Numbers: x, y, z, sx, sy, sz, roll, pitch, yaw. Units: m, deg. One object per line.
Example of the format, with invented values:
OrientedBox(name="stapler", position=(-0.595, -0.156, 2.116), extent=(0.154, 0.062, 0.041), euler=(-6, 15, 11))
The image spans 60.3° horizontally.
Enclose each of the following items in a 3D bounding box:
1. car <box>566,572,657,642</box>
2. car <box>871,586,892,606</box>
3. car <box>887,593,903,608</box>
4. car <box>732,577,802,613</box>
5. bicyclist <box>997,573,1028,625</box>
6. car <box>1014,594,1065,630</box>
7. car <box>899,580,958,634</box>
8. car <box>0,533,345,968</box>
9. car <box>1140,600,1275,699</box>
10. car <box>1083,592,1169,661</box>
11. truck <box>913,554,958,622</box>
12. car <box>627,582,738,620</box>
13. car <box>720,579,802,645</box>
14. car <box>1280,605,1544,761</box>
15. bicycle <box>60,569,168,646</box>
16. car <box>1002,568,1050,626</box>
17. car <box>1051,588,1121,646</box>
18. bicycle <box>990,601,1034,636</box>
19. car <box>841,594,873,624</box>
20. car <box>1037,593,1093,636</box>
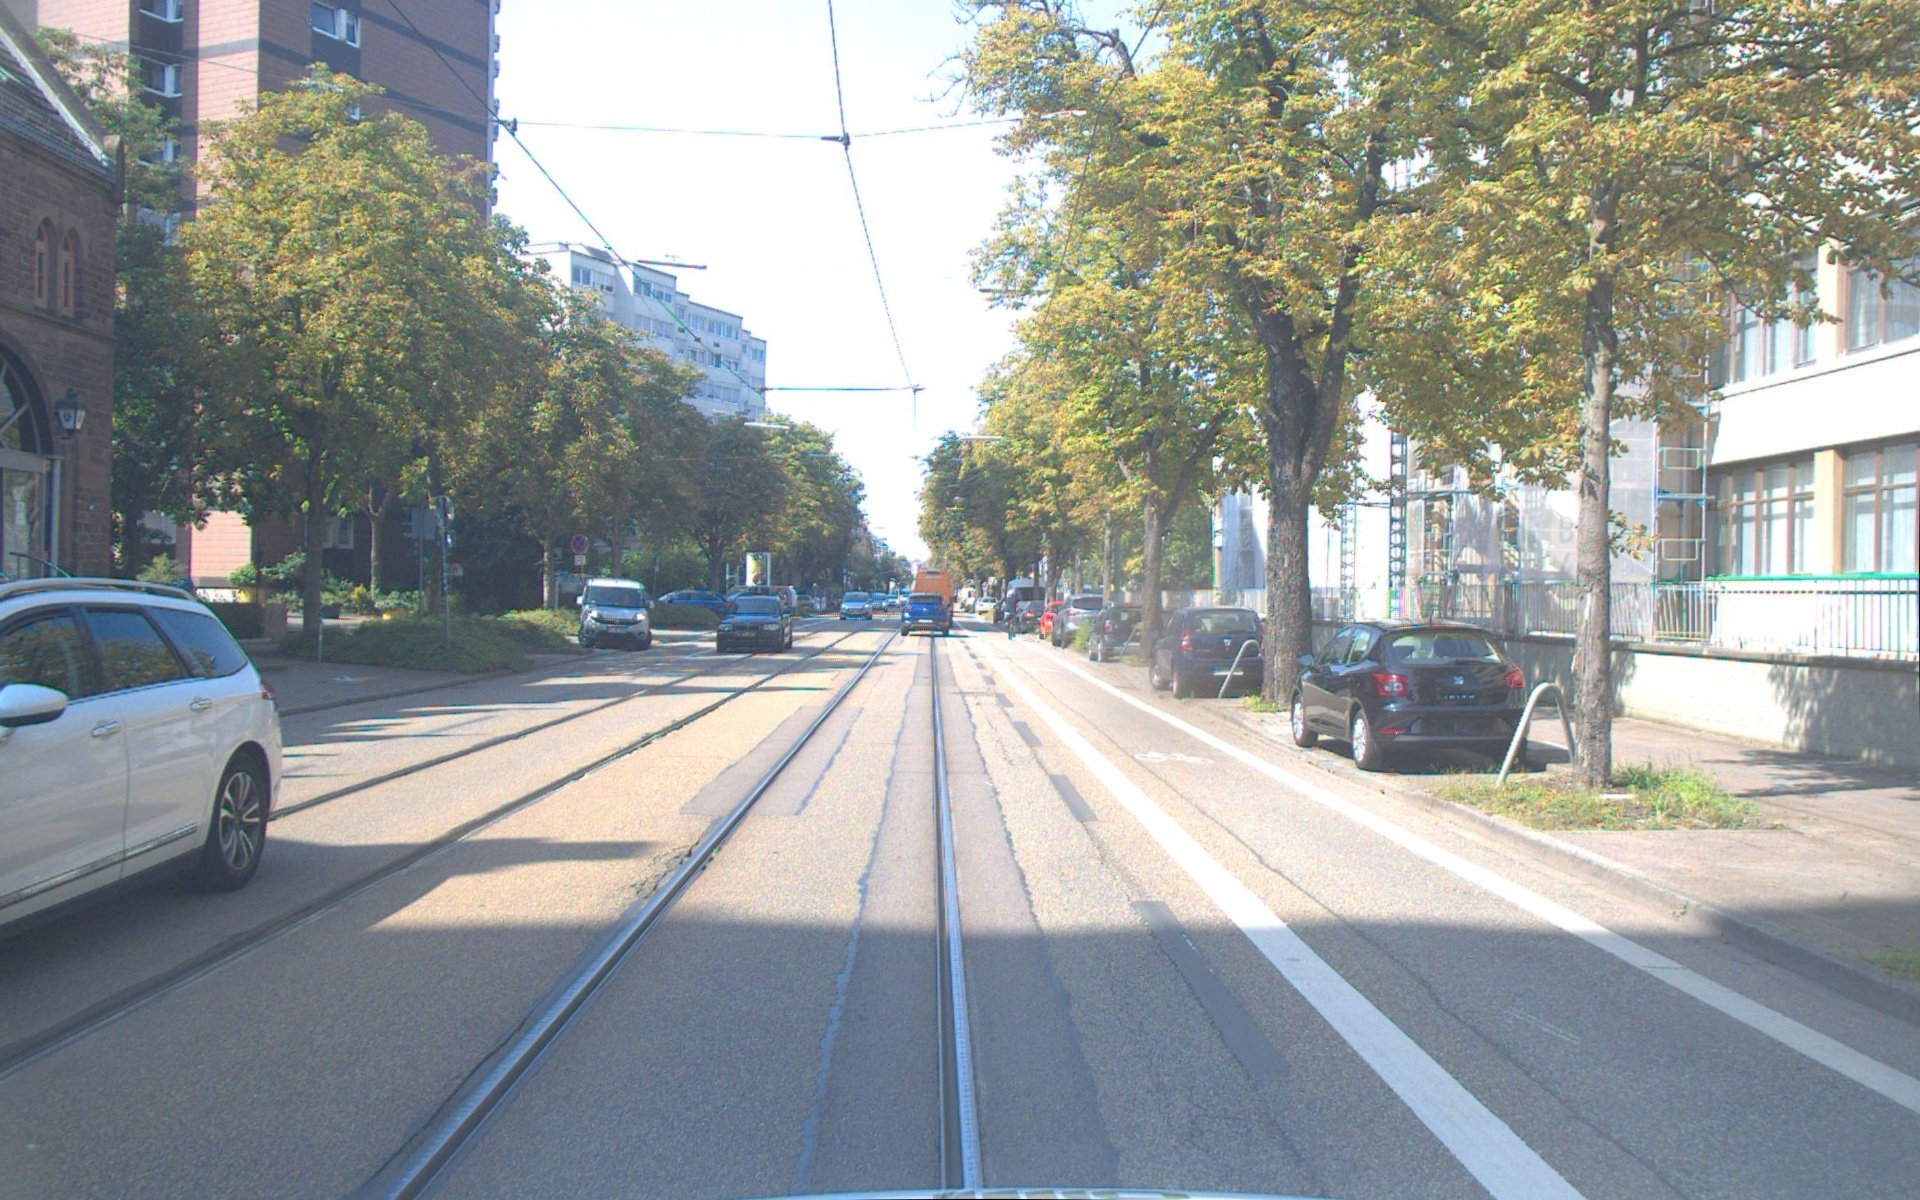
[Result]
OrientedBox(name="car", position=(-9.701, 0.159, 45.844), extent=(1.723, 1.828, 3.972), euler=(2, 0, -23))
OrientedBox(name="car", position=(-6.534, -0.367, 137.638), extent=(1.601, 1.612, 4.187), euler=(2, 0, -2))
OrientedBox(name="car", position=(-7.535, 0.027, 191.871), extent=(1.860, 1.589, 4.121), euler=(2, 0, -2))
OrientedBox(name="car", position=(-11.849, -0.294, 101.794), extent=(3.969, 2.049, 1.827), euler=(1, 0, -44))
OrientedBox(name="bicyclist", position=(1.908, -0.034, 60.225), extent=(1.011, 1.843, 1.016), euler=(2, 0, -1))
OrientedBox(name="car", position=(3.472, 0.517, 72.903), extent=(1.869, 1.456, 4.291), euler=(2, 0, -2))
OrientedBox(name="car", position=(-1.162, 0.227, 61.837), extent=(2.092, 1.891, 5.567), euler=(1, 0, -1))
OrientedBox(name="car", position=(-4.254, 0.516, 6.594), extent=(1.809, 1.518, 4.867), euler=(0, 0, 0))
OrientedBox(name="car", position=(4.287, 0.813, 29.205), extent=(1.707, 1.583, 4.216), euler=(1, 0, -1))
OrientedBox(name="car", position=(4.194, 0.631, 42.301), extent=(1.601, 1.612, 4.187), euler=(2, 0, -2))
OrientedBox(name="truck", position=(-1.201, -0.599, 81.103), extent=(2.092, 3.179, 6.084), euler=(1, 0, -1))
OrientedBox(name="car", position=(-12.418, 0.040, 73.969), extent=(4.511, 1.579, 1.985), euler=(2, 0, -25))
OrientedBox(name="car", position=(-5.190, 0.290, 43.564), extent=(1.647, 1.599, 4.205), euler=(2, 0, 0))
OrientedBox(name="car", position=(4.662, 0.789, 17.662), extent=(1.625, 1.432, 4.216), euler=(1, 0, -1))
OrientedBox(name="bicycle", position=(-13.644, 0.116, 26.683), extent=(1.423, 1.112, 0.399), euler=(5, 0, -5))
OrientedBox(name="car", position=(3.304, -0.177, 83.491), extent=(1.953, 2.803, 5.759), euler=(2, 0, -2))
OrientedBox(name="car", position=(3.945, 0.504, 52.390), extent=(1.705, 1.697, 4.360), euler=(2, 0, -2))
OrientedBox(name="bicycle", position=(1.856, 0.649, 60.237), extent=(1.373, 1.154, 3.999), euler=(1, 0, -1))
OrientedBox(name="car", position=(-6.187, 0.528, 99.720), extent=(1.744, 1.713, 4.345), euler=(2, 0, -2))
OrientedBox(name="car", position=(3.955, 0.530, 62.773), extent=(1.705, 1.488, 3.683), euler=(2, 0, -2))
